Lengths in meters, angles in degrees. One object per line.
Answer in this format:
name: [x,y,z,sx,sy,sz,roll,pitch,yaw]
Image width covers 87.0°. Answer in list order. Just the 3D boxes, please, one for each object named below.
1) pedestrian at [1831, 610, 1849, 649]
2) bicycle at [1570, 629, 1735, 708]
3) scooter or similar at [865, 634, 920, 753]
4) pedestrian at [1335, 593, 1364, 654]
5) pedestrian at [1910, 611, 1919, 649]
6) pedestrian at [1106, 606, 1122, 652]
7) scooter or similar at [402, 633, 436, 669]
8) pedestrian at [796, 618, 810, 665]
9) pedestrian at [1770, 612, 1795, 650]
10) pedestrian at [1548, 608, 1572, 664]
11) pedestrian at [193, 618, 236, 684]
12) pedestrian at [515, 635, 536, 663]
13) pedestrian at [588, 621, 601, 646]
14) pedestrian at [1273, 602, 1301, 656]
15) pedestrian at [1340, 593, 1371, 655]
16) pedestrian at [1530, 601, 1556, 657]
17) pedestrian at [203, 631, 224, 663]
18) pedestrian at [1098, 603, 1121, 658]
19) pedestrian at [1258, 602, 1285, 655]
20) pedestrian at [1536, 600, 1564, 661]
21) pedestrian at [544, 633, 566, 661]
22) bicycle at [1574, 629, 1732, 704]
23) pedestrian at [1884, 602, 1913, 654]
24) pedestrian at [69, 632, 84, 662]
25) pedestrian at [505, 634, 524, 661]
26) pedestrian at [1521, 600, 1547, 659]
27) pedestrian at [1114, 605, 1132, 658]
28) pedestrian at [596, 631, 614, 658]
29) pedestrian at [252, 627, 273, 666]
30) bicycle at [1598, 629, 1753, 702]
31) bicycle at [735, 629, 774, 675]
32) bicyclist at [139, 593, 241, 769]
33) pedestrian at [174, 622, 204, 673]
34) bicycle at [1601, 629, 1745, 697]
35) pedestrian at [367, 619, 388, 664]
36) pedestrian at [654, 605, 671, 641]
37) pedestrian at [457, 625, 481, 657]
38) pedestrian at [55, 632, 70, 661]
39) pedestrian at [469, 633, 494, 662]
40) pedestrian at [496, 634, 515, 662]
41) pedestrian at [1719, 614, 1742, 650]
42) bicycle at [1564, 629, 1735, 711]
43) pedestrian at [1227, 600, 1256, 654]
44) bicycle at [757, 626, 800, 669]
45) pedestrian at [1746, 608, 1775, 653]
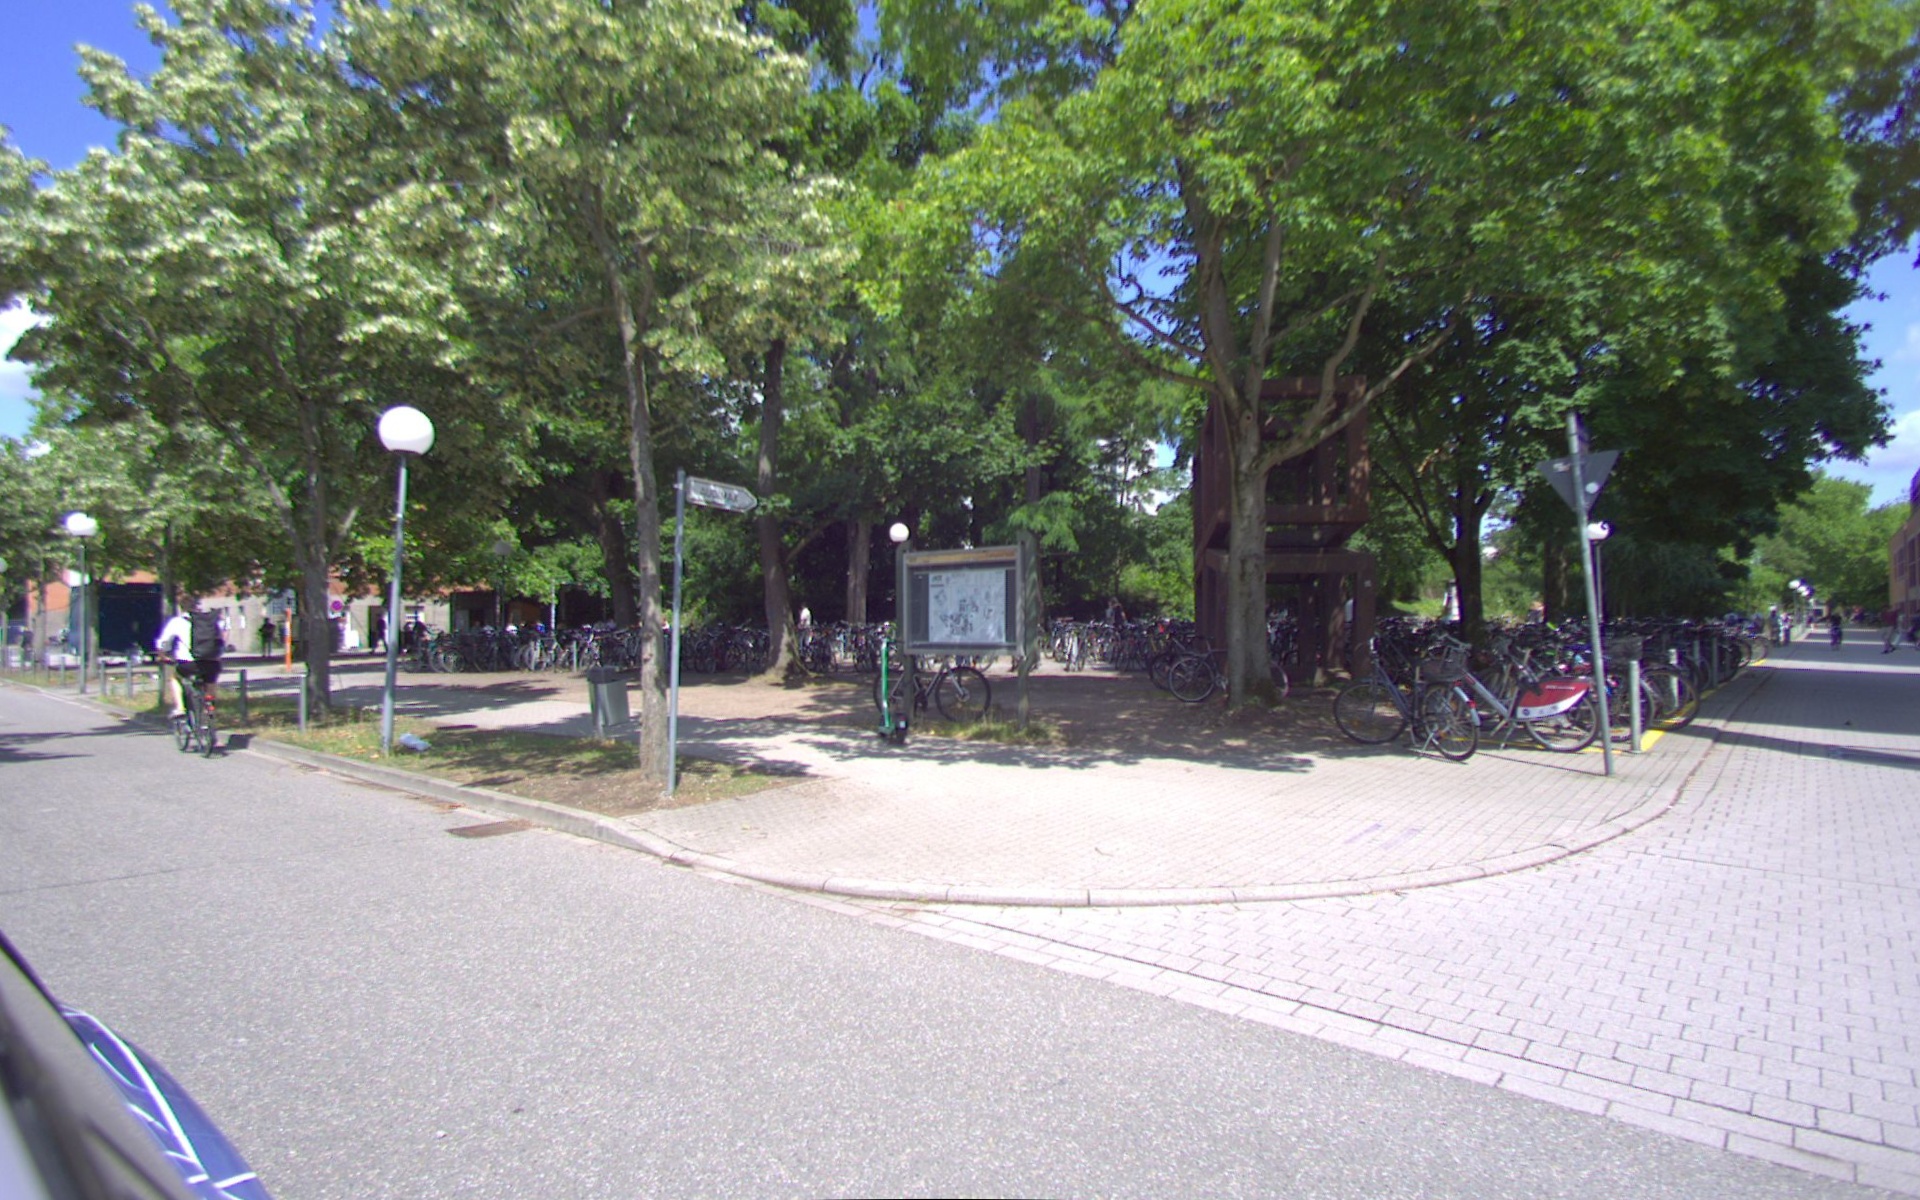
pedestrian: [37.170,1.253,42.745,0.580,1.618,0.496,0,-2,-44]
bicycle: [10.357,1.007,15.184,1.972,1.095,0.546,-2,-1,41]
scooter or similar: [-0.751,0.975,10.998,0.334,1.184,1.332,-1,-1,-14]
pedestrian: [12.631,0.758,32.858,0.673,1.948,0.621,-2,-1,6]
pedestrian: [42.543,1.313,44.804,0.591,1.680,0.526,0,-2,-33]
pedestrian: [5.207,0.972,34.240,0.481,1.538,0.408,-2,-1,10]
scooter or similar: [-19.348,1.813,36.194,1.241,1.255,0.691,-2,-1,41]
pedestrian: [-5.449,1.449,35.212,0.346,1.626,0.461,-1,-1,5]
pedestrian: [36.601,1.371,45.038,0.780,1.628,0.716,0,-1,44]
pedestrian: [21.763,1.303,36.688,0.525,2.029,0.521,0,-2,-34]
pedestrian: [-21.341,1.453,28.980,0.986,1.844,0.791,-3,-2,41]
pedestrian: [-21.262,2.393,49.507,0.778,1.333,0.680,-3,-3,42]
pedestrian: [-16.654,1.528,46.117,0.505,1.148,0.333,-2,-1,30]
pedestrian: [10.448,0.915,32.367,0.685,1.683,0.555,-2,-1,6]
pedestrian: [12.571,0.753,32.170,0.688,1.948,0.647,-2,-1,6]
pedestrian: [21.443,1.049,37.220,0.525,2.029,0.577,0,-2,-34]
pedestrian: [-35.902,2.252,48.677,0.499,1.521,0.735,-2,-1,42]
pedestrian: [4.700,0.954,31.843,0.623,1.683,0.577,-2,-1,6]
pedestrian: [10.155,0.922,32.990,0.695,1.683,0.555,-2,-1,6]
pedestrian: [20.048,1.037,34.377,0.525,2.029,0.594,0,-2,-34]
pedestrian: [-18.574,2.154,46.369,0.764,1.260,0.565,-2,-1,30]
bicycle: [10.888,1.025,15.948,1.972,1.095,0.546,-2,-1,41]
pedestrian: [35.982,1.058,38.814,0.758,1.968,0.631,-2,-2,43]
pedestrian: [-54.654,2.892,62.591,0.917,1.793,0.570,-2,-2,40]
pedestrian: [-21.180,2.246,48.109,0.693,1.281,0.554,-3,-2,42]
pedestrian: [19.835,1.022,34.968,0.525,2.029,0.521,0,-2,-34]
pedestrian: [5.406,1.047,33.591,0.539,1.727,0.411,-2,-1,11]
pedestrian: [-16.082,1.998,45.830,0.728,1.203,0.388,-2,-2,32]
pedestrian: [-30.765,2.047,44.638,0.643,1.678,0.623,-2,-2,42]
bicycle: [11.559,1.042,16.392,1.972,1.095,0.546,-2,-1,41]
bicycle: [-5.774,1.451,28.531,0.473,1.141,2.057,-2,1,5]
bicyclist: [-9.363,0.962,12.309,1.018,2.029,0.704,-2,-4,39]
pedestrian: [-31.215,1.913,40.962,0.906,1.969,0.894,-2,0,-39]
bicycle: [12.314,1.069,17.520,1.972,1.095,0.546,-2,-1,41]
pedestrian: [-24.711,1.756,42.934,0.805,1.862,0.524,-3,-2,41]
pedestrian: [-13.059,1.005,44.463,0.472,1.534,0.502,-2,-1,30]
pedestrian: [-22.037,1.842,45.430,0.734,1.380,0.594,-3,-2,7]
pedestrian: [-55.088,2.868,62.098,0.805,1.775,0.557,-2,-2,40]
pedestrian: [-21.274,2.103,45.002,0.734,1.243,0.594,-3,-2,7]
pedestrian: [-21.902,2.312,48.758,0.693,1.281,0.554,-3,-2,42]
pedestrian: [34.352,1.422,45.131,0.759,1.608,0.389,-2,-2,40]
bicycle: [9.982,0.994,14.707,1.972,1.095,0.546,-2,-1,41]
pedestrian: [8.961,0.871,32.250,0.721,1.683,0.631,-2,-1,6]
bicycle: [-5.146,1.333,28.792,0.632,1.141,2.057,-2,-1,6]
pedestrian: [31.028,1.169,39.233,0.621,1.708,0.604,0,-2,-23]
